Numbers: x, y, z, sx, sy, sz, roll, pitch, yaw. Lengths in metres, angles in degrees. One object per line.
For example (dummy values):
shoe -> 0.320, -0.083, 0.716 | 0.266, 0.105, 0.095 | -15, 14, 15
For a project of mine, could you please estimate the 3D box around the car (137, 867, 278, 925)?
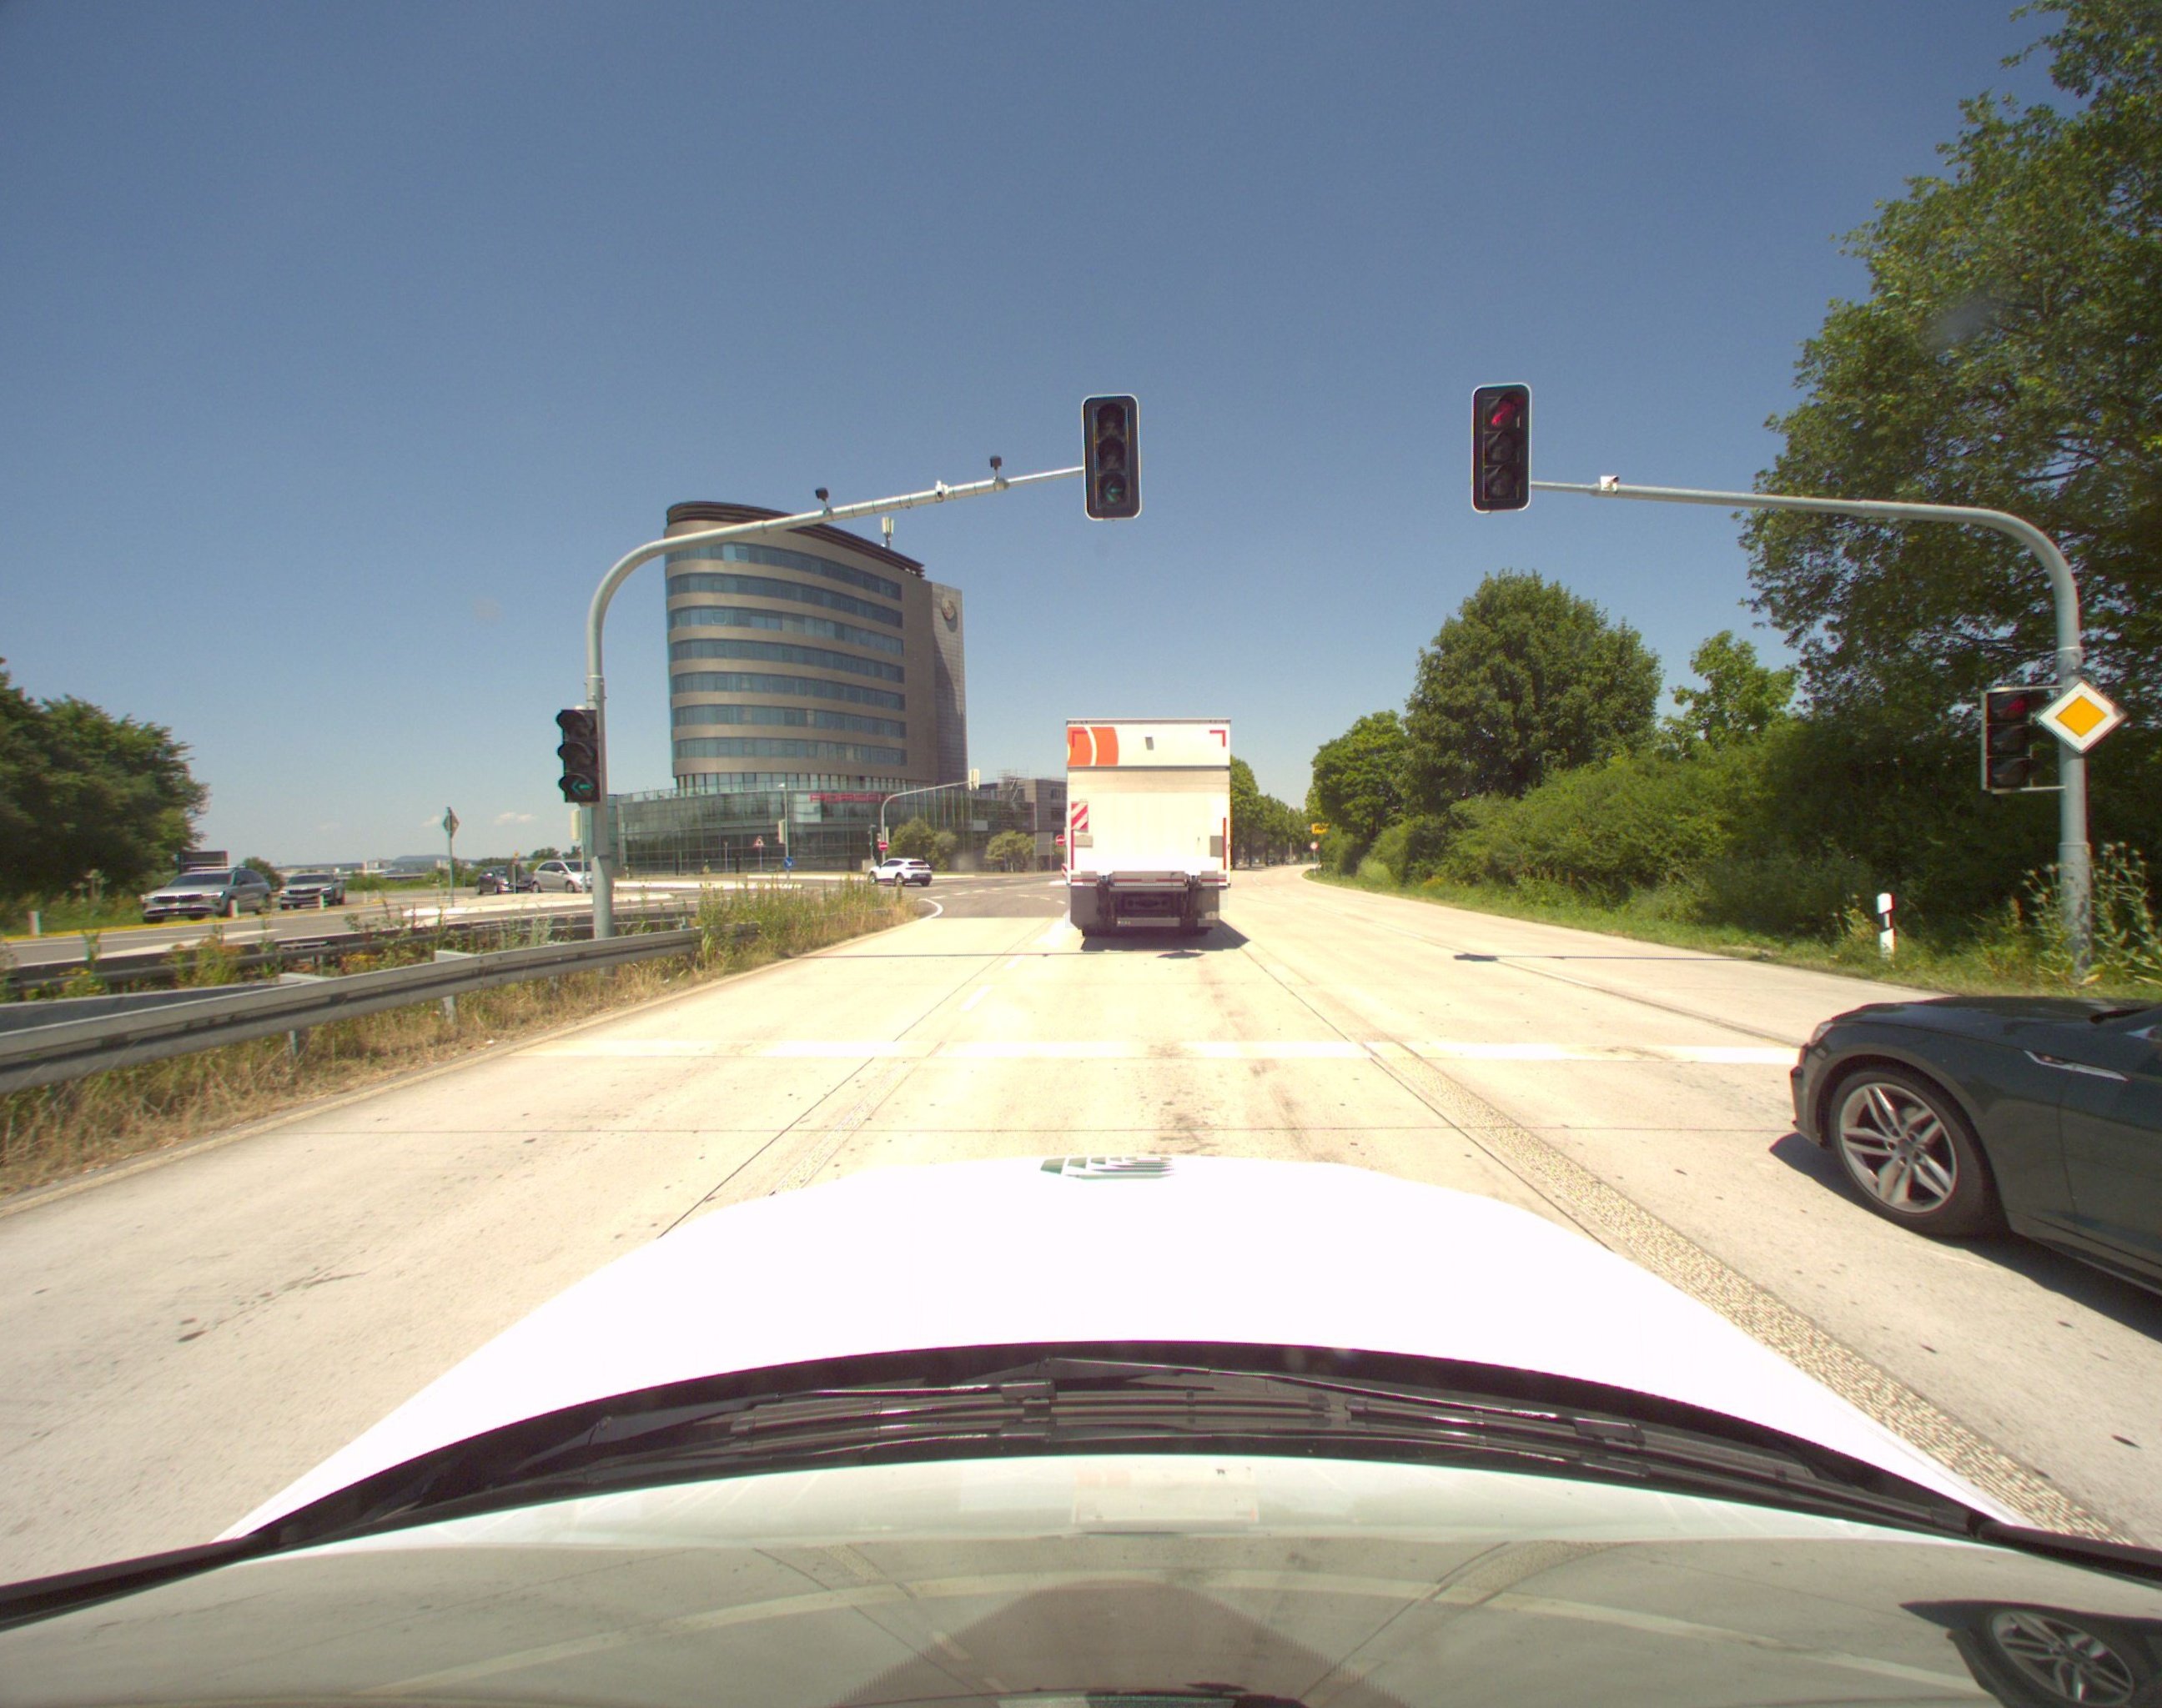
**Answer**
car -> -29.960, 1.371, 28.140 | 2.006, 1.773, 4.810 | 0, -1, -31

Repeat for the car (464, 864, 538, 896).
car -> -29.339, 1.330, 41.151 | 4.273, 1.456, 1.708 | -3, -2, 35

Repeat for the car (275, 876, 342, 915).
car -> -37.065, 1.941, 39.173 | 2.010, 1.692, 4.603 | 0, -1, -39

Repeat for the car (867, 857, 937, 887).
car -> -9.750, 0.955, 44.291 | 3.949, 1.557, 1.819 | -1, -1, 43

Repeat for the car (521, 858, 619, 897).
car -> -23.166, 1.082, 36.890 | 4.275, 1.595, 1.787 | -3, -2, 27

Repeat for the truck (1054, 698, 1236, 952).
truck -> 1.123, -0.398, 17.073 | 2.759, 3.860, 9.373 | 0, -1, 2

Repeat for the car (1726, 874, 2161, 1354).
car -> 4.117, 0.789, 1.827 | 1.761, 1.410, 4.610 | 0, -1, 1
